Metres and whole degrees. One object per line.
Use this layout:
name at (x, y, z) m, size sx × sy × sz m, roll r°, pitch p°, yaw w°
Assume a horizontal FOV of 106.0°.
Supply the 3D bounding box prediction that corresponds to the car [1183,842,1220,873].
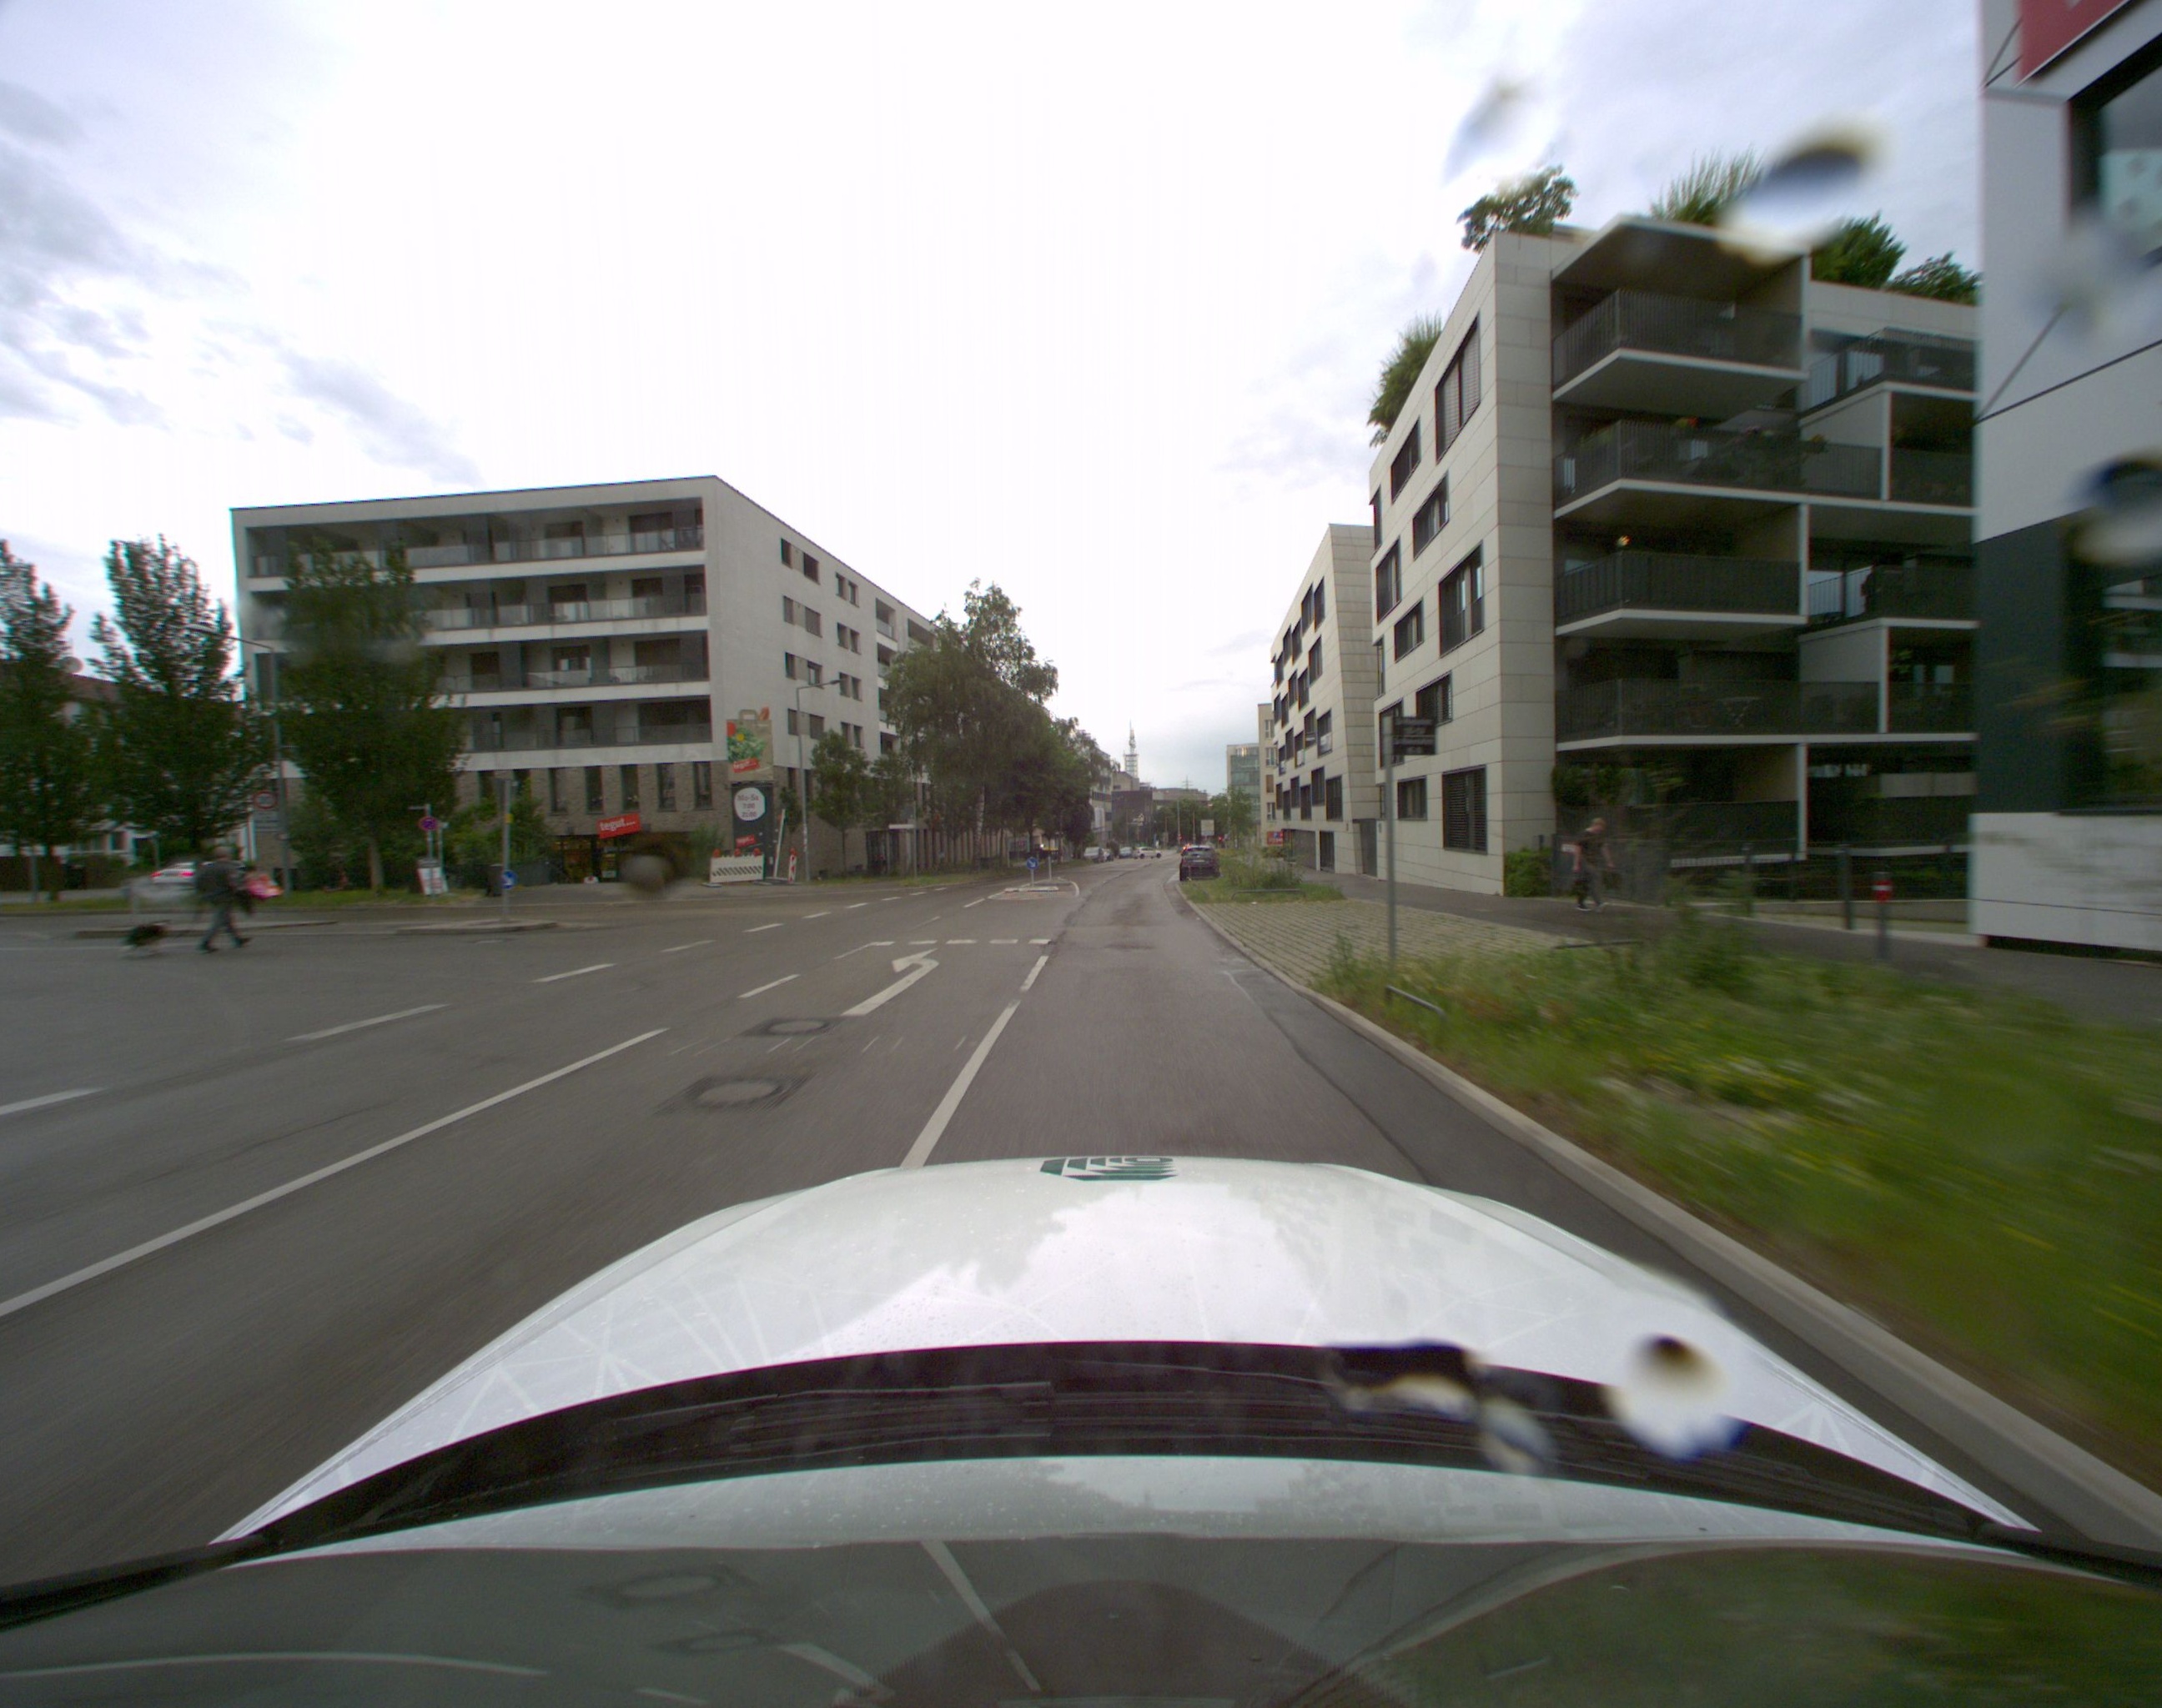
car at (6.259, 0.176, 42.135) m, size 1.797 × 1.484 × 4.506 m, roll -1°, pitch 0°, yaw 9°

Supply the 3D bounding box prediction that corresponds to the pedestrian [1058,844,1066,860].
pedestrian at (-1.920, -0.223, 83.447) m, size 0.705 × 1.683 × 0.958 m, roll -1°, pitch 1°, yaw 5°

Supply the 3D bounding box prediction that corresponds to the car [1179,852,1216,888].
car at (5.317, 0.677, 36.911) m, size 1.536 × 1.478 × 3.671 m, roll -1°, pitch 1°, yaw 10°

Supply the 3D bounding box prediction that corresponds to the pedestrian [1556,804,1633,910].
pedestrian at (9.070, 0.051, 14.416) m, size 0.819 × 1.796 × 0.779 m, roll -2°, pitch -1°, yaw 3°

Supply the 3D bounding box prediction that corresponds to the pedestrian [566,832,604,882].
pedestrian at (-20.684, 0.113, 33.994) m, size 0.880 × 2.013 × 1.117 m, roll 0°, pitch 1°, yaw 0°

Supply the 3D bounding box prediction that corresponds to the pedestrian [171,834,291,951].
pedestrian at (-15.331, 0.668, 14.730) m, size 1.056 × 2.014 × 1.095 m, roll -1°, pitch -1°, yaw -12°

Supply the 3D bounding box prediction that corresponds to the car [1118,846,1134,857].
car at (6.332, -0.320, 113.322) m, size 1.904 × 1.481 × 4.364 m, roll -1°, pitch 0°, yaw 7°

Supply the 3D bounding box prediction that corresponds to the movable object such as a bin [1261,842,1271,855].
movable object such as a bin at (21.458, -0.657, 94.412) m, size 1.166 × 1.503 × 1.017 m, roll -1°, pitch 0°, yaw 12°

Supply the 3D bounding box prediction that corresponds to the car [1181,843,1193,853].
car at (20.030, -1.071, 153.393) m, size 2.130 × 1.728 × 4.007 m, roll -1°, pitch 0°, yaw 6°

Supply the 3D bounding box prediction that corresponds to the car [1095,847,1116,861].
car at (2.877, -0.025, 93.968) m, size 1.785 × 1.516 × 4.258 m, roll -1°, pitch 0°, yaw 11°

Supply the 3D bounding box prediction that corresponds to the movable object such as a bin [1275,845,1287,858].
movable object such as a bin at (22.841, -0.311, 93.124) m, size 1.252 × 1.402 × 1.116 m, roll -1°, pitch 0°, yaw 11°

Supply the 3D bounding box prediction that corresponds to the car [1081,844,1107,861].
car at (1.366, -0.158, 84.077) m, size 2.066 × 1.609 × 4.696 m, roll -2°, pitch 1°, yaw 8°

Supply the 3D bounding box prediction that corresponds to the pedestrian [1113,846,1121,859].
pedestrian at (5.154, -0.211, 116.657) m, size 0.730 × 1.708 × 0.898 m, roll -1°, pitch -1°, yaw -18°

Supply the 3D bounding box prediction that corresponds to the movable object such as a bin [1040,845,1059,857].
movable object such as a bin at (-3.774, -0.336, 97.074) m, size 2.044 × 1.423 × 1.319 m, roll 0°, pitch 0°, yaw 5°

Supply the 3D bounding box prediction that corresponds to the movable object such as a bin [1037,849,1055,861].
movable object such as a bin at (-4.097, 0.094, 95.765) m, size 2.017 × 1.429 × 1.292 m, roll 0°, pitch 0°, yaw 5°

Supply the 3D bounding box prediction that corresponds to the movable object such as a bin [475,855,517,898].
movable object such as a bin at (-19.096, 0.721, 26.587) m, size 0.712 × 1.362 × 0.823 m, roll -1°, pitch 1°, yaw 2°

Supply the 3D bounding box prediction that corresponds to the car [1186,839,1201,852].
car at (16.089, -1.266, 115.954) m, size 1.981 × 1.750 × 3.682 m, roll -1°, pitch 1°, yaw 9°

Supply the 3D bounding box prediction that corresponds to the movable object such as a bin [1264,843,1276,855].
movable object such as a bin at (21.412, -0.534, 92.434) m, size 1.227 × 1.320 × 1.195 m, roll -2°, pitch -1°, yaw 11°

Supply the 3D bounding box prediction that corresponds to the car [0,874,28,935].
car at (-32.260, 1.467, 22.451) m, size 4.772 × 1.660 × 2.071 m, roll -1°, pitch 0°, yaw 12°

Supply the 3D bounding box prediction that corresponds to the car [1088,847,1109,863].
car at (1.928, 0.087, 89.318) m, size 1.763 × 1.600 × 4.042 m, roll -1°, pitch 1°, yaw 9°

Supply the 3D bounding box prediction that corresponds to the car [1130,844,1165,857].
car at (8.365, -0.412, 102.672) m, size 4.010 × 1.577 × 1.980 m, roll -2°, pitch 1°, yaw -32°
